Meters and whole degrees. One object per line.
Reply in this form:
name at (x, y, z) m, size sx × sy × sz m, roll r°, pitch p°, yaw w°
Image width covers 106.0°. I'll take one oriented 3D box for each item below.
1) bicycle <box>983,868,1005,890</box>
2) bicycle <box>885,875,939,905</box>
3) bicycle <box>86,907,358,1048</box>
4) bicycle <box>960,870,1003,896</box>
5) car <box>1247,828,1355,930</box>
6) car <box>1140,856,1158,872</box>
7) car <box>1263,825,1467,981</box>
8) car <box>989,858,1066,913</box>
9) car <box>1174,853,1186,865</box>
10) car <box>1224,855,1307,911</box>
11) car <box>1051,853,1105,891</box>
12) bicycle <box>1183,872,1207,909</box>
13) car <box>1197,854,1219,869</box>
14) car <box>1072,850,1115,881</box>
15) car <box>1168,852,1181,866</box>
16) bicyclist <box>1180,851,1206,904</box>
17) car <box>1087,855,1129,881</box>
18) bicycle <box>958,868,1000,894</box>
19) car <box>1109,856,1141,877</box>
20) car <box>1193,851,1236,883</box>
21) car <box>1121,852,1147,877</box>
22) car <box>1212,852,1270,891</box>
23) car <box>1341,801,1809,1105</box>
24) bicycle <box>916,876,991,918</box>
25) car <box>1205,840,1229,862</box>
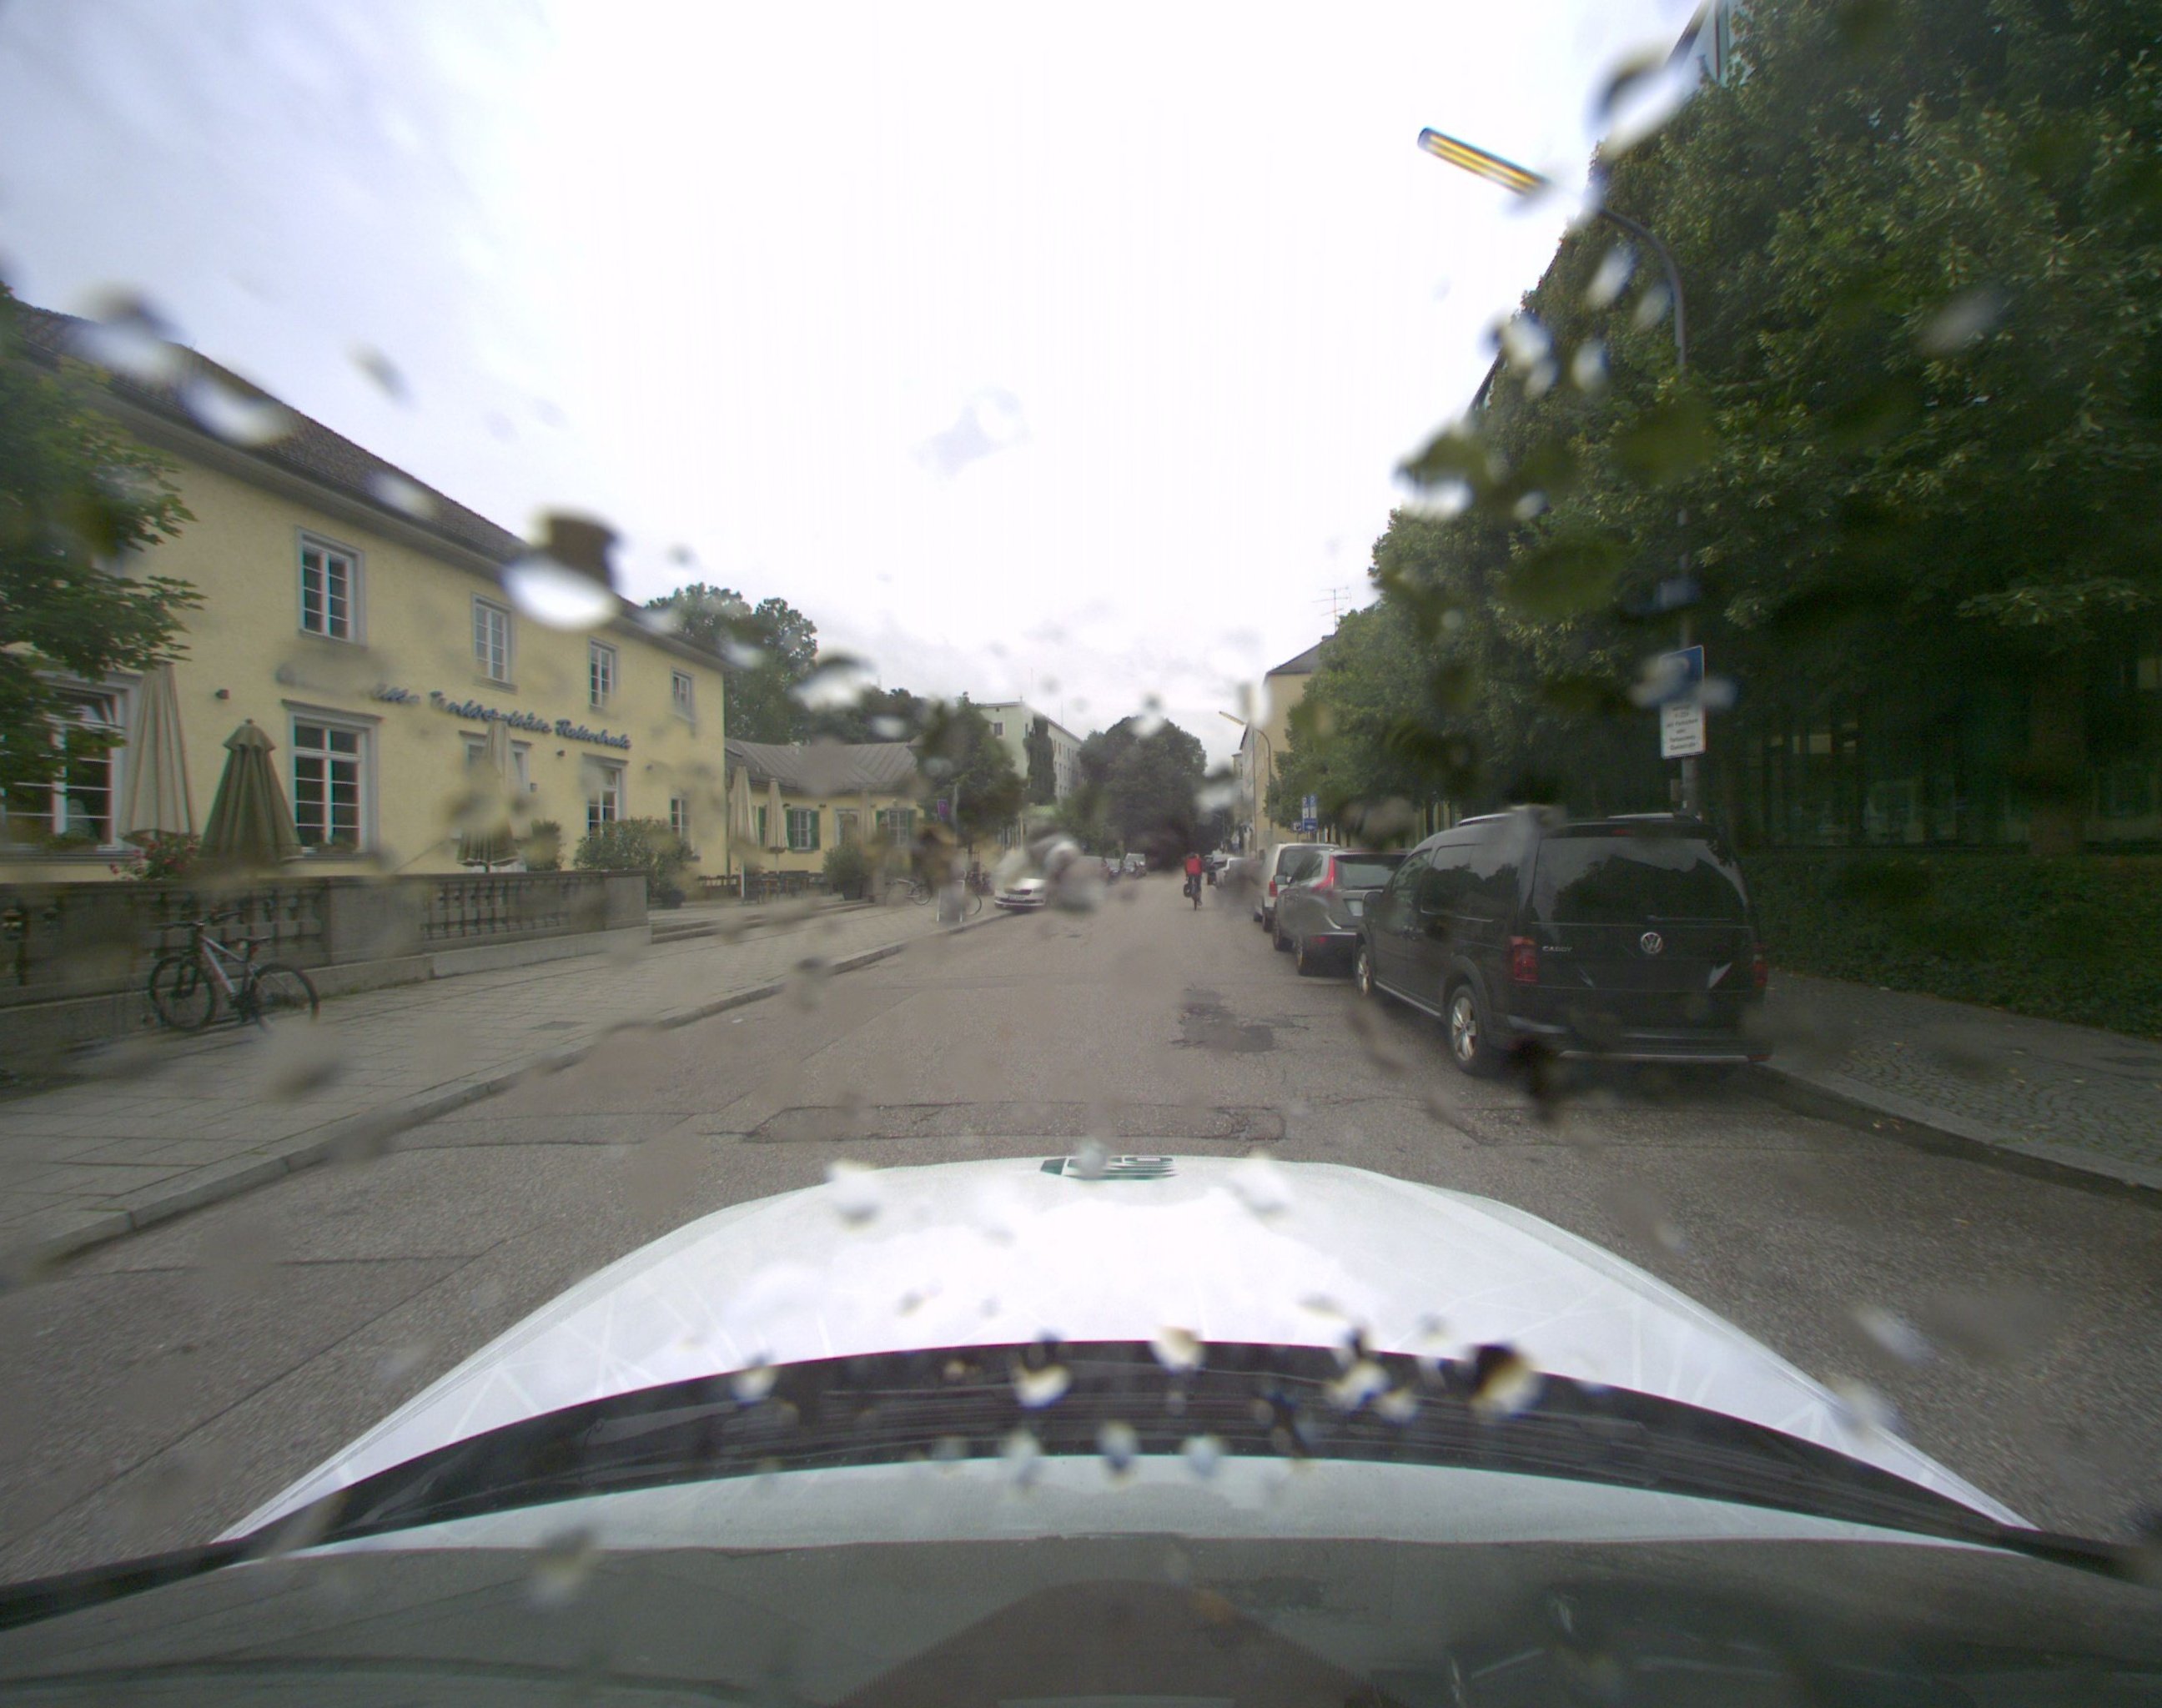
bicycle at (-4.082, 1.160, 38.235) m, size 0.618 × 1.004 × 1.623 m, roll -1°, pitch -1°, yaw 10°
bicycle at (-5.470, 1.153, 26.373) m, size 1.619 × 0.926 × 0.647 m, roll -1°, pitch -2°, yaw -21°
bicycle at (-7.601, 1.060, 7.235) m, size 1.920 × 1.099 × 0.616 m, roll 1°, pitch 0°, yaw 7°
bicycle at (-4.036, 1.185, 33.042) m, size 1.619 × 1.004 × 0.619 m, roll -1°, pitch -2°, yaw -21°
car at (4.716, 0.484, 17.988) m, size 1.740 × 1.943 × 4.237 m, roll -2°, pitch 0°, yaw 8°
car at (7.766, 1.154, 92.788) m, size 1.801 × 1.683 × 4.007 m, roll -2°, pitch 0°, yaw 6°
car at (3.826, 0.574, 11.820) m, size 1.853 × 1.794 × 4.518 m, roll -2°, pitch 0°, yaw 7°
car at (-1.650, 0.940, 26.316) m, size 1.724 × 1.581 × 3.795 m, roll 2°, pitch 0°, yaw 7°
car at (17.276, 0.854, 141.563) m, size 1.982 × 2.014 × 4.009 m, roll 1°, pitch -1°, yaw 8°
car at (5.215, 0.776, 23.505) m, size 1.853 × 1.440 × 4.263 m, roll -1°, pitch 0°, yaw 6°
car at (-0.070, 0.819, 38.845) m, size 1.983 × 1.648 × 4.664 m, roll -1°, pitch 0°, yaw 7°
bicycle at (3.252, 1.034, 23.394) m, size 0.618 × 1.004 × 2.144 m, roll -2°, pitch -2°, yaw 7°
car at (13.386, 0.805, 85.950) m, size 1.984 × 1.552 × 4.005 m, roll -1°, pitch 0°, yaw 5°
car at (0.736, 0.630, 43.883) m, size 1.984 × 1.603 × 4.006 m, roll -1°, pitch -1°, yaw 6°
car at (14.942, 0.816, 130.142) m, size 1.983 × 2.098 × 4.007 m, roll 1°, pitch 0°, yaw 6°
bicyclist at (3.220, 0.674, 23.474) m, size 0.668 × 1.498 × 1.097 m, roll -2°, pitch -2°, yaw 6°
car at (1.726, 0.864, 50.824) m, size 1.981 × 1.486 × 4.011 m, roll 1°, pitch 0°, yaw 10°
bicycle at (-4.294, 1.137, 34.354) m, size 1.624 × 1.004 × 0.617 m, roll -2°, pitch -1°, yaw -32°
car at (3.338, 0.937, 61.631) m, size 1.982 × 1.486 × 4.010 m, roll -2°, pitch 0°, yaw 8°
car at (7.166, 0.662, 43.976) m, size 1.984 × 1.618 × 4.005 m, roll -1°, pitch 0°, yaw 5°
car at (4.635, 0.853, 70.157) m, size 1.983 × 2.079 × 4.007 m, roll -2°, pitch 0°, yaw 6°
car at (6.781, 0.691, 34.953) m, size 1.984 × 1.552 × 4.005 m, roll -1°, pitch 0°, yaw 5°
car at (3.630, 0.594, 6.992) m, size 1.752 × 1.823 × 4.144 m, roll -1°, pitch 0°, yaw 4°
bicycle at (-3.388, 1.124, 21.901) m, size 0.615 × 1.004 × 2.153 m, roll 2°, pitch 1°, yaw 37°
car at (13.379, -0.251, 80.314) m, size 1.984 × 2.060 × 4.630 m, roll -1°, pitch 0°, yaw 5°
